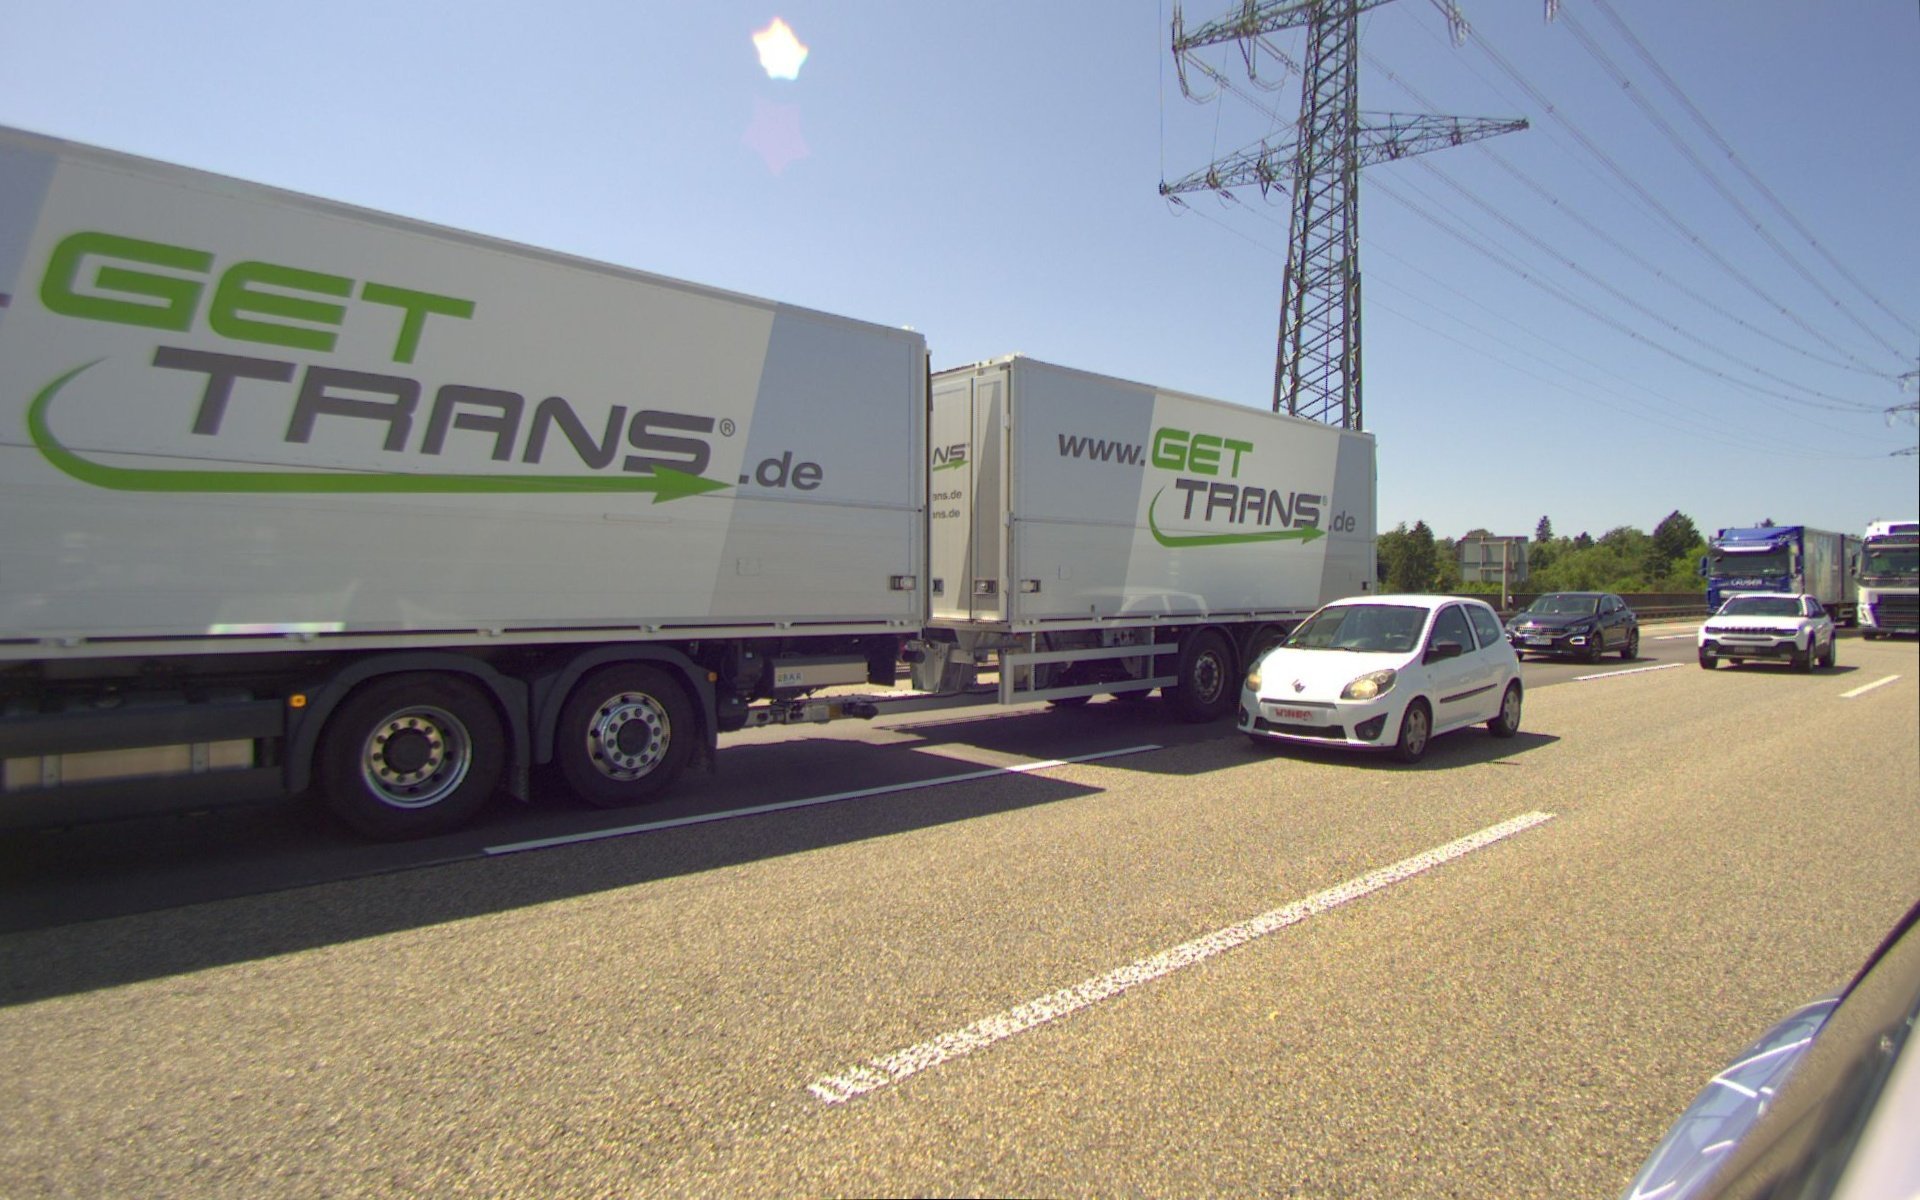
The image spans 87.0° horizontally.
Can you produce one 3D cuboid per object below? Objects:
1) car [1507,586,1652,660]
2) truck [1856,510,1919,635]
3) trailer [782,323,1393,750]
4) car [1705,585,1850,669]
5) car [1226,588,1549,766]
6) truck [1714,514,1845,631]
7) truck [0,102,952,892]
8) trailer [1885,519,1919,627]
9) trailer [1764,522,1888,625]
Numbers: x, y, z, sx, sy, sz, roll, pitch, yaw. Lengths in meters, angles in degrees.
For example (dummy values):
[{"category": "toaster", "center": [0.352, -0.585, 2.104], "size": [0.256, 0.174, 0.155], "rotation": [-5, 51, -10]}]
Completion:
[{"category": "car", "center": [14.007, 0.461, 22.813], "size": [3.821, 1.524, 1.708], "rotation": [0, 1, -41]}, {"category": "truck", "center": [32.762, -0.915, 34.218], "size": [6.624, 3.941, 2.911], "rotation": [-1, 1, -41]}, {"category": "trailer", "center": [2.070, -0.564, 12.418], "size": [8.149, 3.640, 2.848], "rotation": [0, 0, -42]}, {"category": "car", "center": [16.634, 0.476, 20.539], "size": [3.688, 1.554, 1.720], "rotation": [0, 1, -42]}, {"category": "car", "center": [4.368, 0.619, 10.129], "size": [3.566, 1.458, 1.582], "rotation": [0, 1, -41]}, {"category": "truck", "center": [31.113, -0.977, 38.300], "size": [7.788, 4.018, 2.515], "rotation": [0, 0, -41]}, {"category": "truck", "center": [-4.953, -0.489, 6.121], "size": [10.584, 3.648, 2.855], "rotation": [-1, 1, -42]}, {"category": "trailer", "center": [38.858, -1.039, 39.567], "size": [9.605, 3.917, 2.895], "rotation": [-1, 1, -41]}, {"category": "trailer", "center": [38.103, -1.130, 44.359], "size": [10.695, 4.044, 2.541], "rotation": [-1, 1, -41]}]
